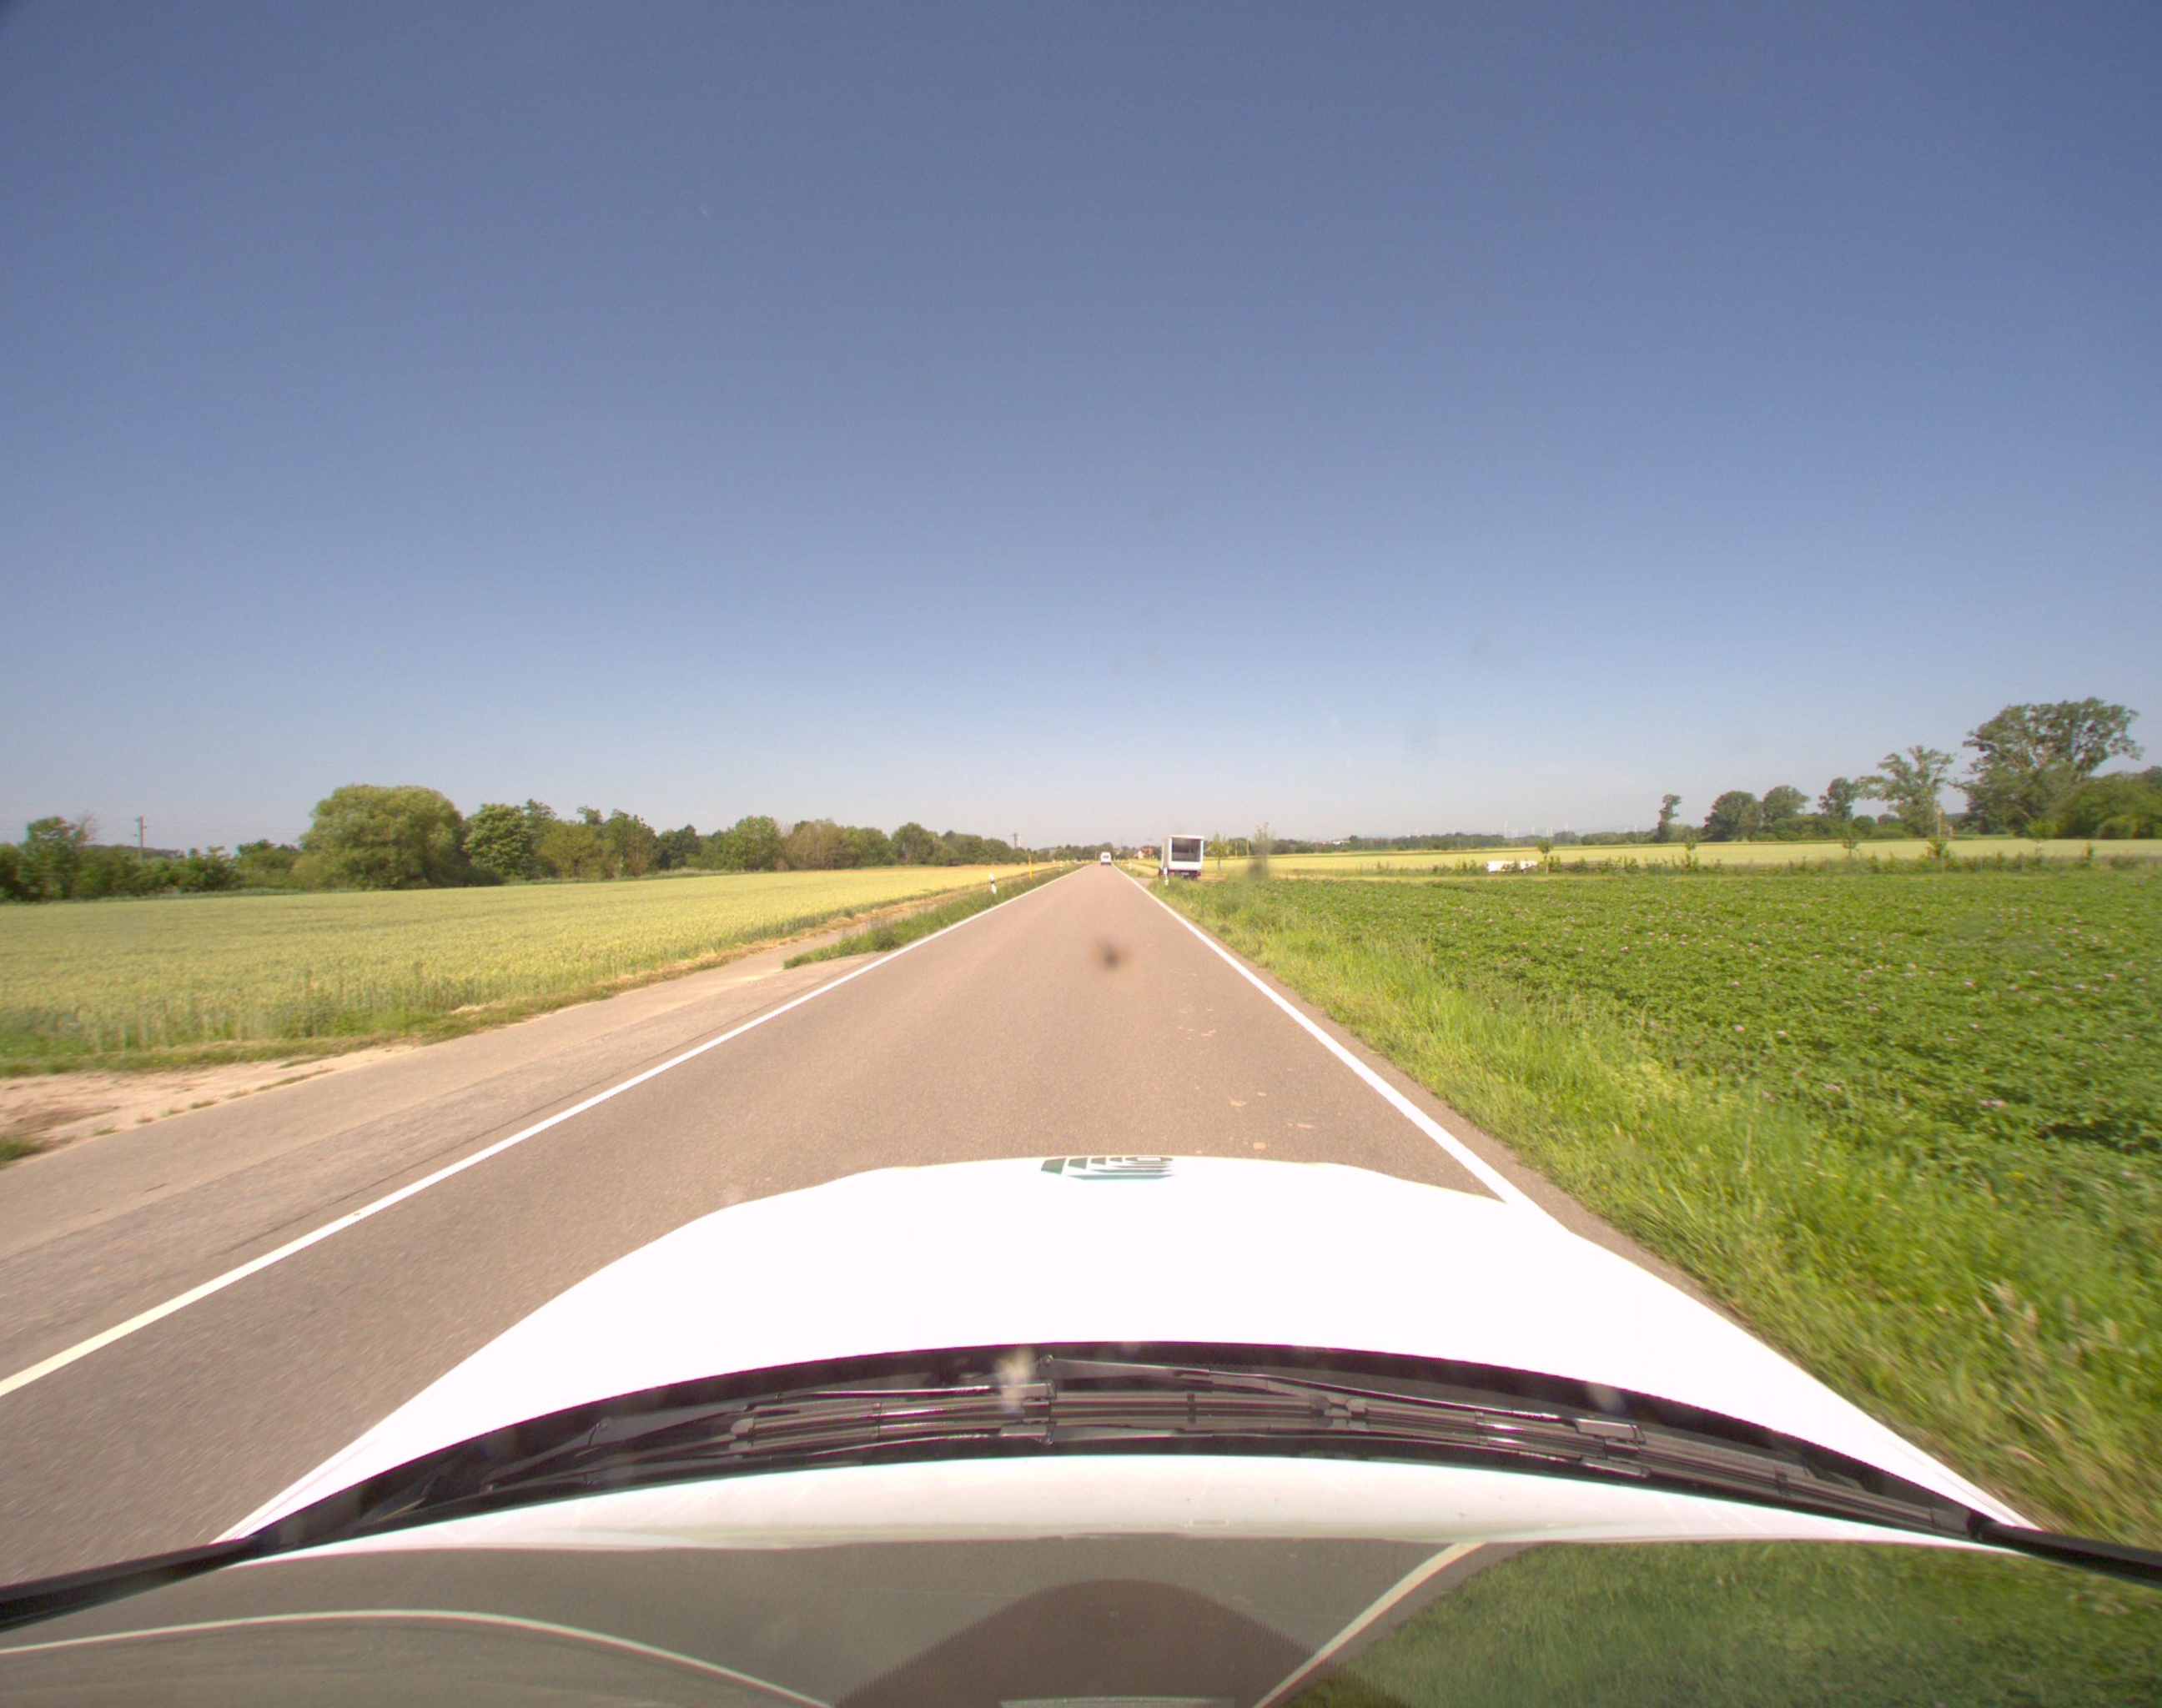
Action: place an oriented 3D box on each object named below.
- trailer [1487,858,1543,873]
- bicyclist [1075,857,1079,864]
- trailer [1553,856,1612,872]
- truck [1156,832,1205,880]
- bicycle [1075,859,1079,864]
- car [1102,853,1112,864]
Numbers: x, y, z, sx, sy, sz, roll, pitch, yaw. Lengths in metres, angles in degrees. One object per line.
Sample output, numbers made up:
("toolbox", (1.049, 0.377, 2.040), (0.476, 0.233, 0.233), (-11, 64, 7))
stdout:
("trailer", (33.865, 0.889, 63.616), (3.560, 1.189, 1.669), (0, -1, 13))
("bicyclist", (-1.060, 1.686, 203.530), (0.757, 1.672, 1.089), (-3, -1, 1))
("trailer", (38.447, 0.796, 62.488), (3.513, 1.189, 1.669), (-1, -1, 13))
("truck", (6.453, 0.157, 53.629), (2.328, 2.942, 7.006), (2, -1, 0))
("bicycle", (-1.054, 1.915, 203.478), (0.756, 1.236, 2.395), (-3, -1, 2))
("car", (5.231, 0.888, 163.719), (2.099, 2.304, 5.497), (0, -1, 1))
